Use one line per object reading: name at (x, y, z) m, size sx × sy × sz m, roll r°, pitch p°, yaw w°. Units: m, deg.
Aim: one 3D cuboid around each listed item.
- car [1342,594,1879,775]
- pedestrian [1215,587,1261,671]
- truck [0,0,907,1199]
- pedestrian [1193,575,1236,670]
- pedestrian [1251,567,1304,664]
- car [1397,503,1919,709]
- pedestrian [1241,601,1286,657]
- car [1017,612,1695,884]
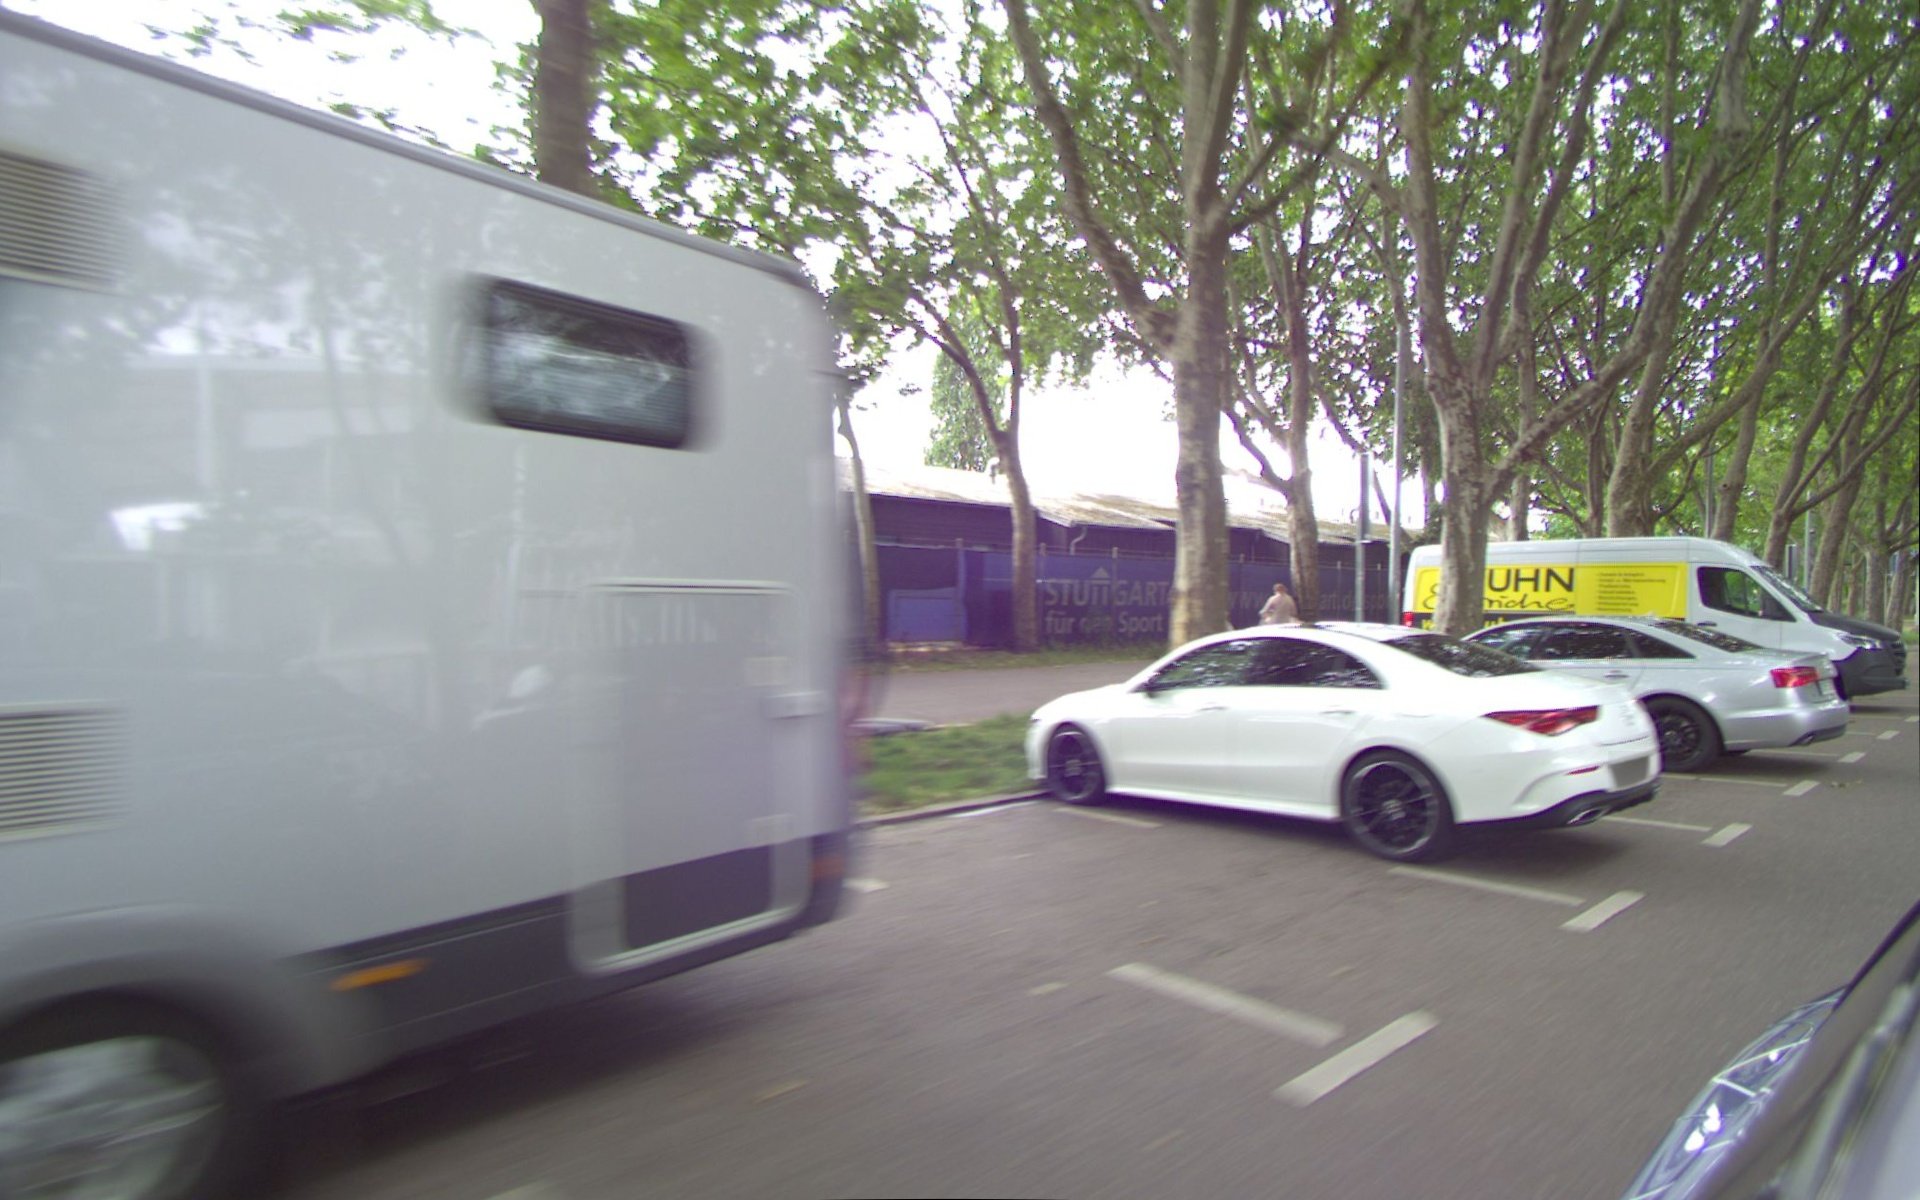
car at (6.381, 0.734, 10.414) m, size 1.584 × 1.464 × 4.366 m, roll 0°, pitch -1°, yaw -40°
pedestrian at (5.024, 0.512, 18.311) m, size 0.557 × 1.459 × 0.519 m, roll 1°, pitch 2°, yaw -39°
truck at (-3.529, 0.055, 1.928) m, size 2.455 × 2.975 × 7.427 m, roll 0°, pitch 0°, yaw 40°
pedestrian at (4.556, 0.390, 18.126) m, size 0.422 × 1.665 × 0.519 m, roll 1°, pitch 2°, yaw -39°
pedestrian at (5.941, 0.282, 18.964) m, size 0.609 × 1.762 × 0.641 m, roll 1°, pitch 2°, yaw -37°
car at (11.061, 0.075, 16.612) m, size 2.091 × 2.729 × 6.888 m, roll 0°, pitch 0°, yaw -43°
pedestrian at (6.022, 0.566, 20.078) m, size 0.578 × 1.061 × 0.594 m, roll 1°, pitch 2°, yaw -37°
car at (2.491, 0.777, 7.337) m, size 1.669 × 1.318 × 4.328 m, roll 0°, pitch 0°, yaw -40°
